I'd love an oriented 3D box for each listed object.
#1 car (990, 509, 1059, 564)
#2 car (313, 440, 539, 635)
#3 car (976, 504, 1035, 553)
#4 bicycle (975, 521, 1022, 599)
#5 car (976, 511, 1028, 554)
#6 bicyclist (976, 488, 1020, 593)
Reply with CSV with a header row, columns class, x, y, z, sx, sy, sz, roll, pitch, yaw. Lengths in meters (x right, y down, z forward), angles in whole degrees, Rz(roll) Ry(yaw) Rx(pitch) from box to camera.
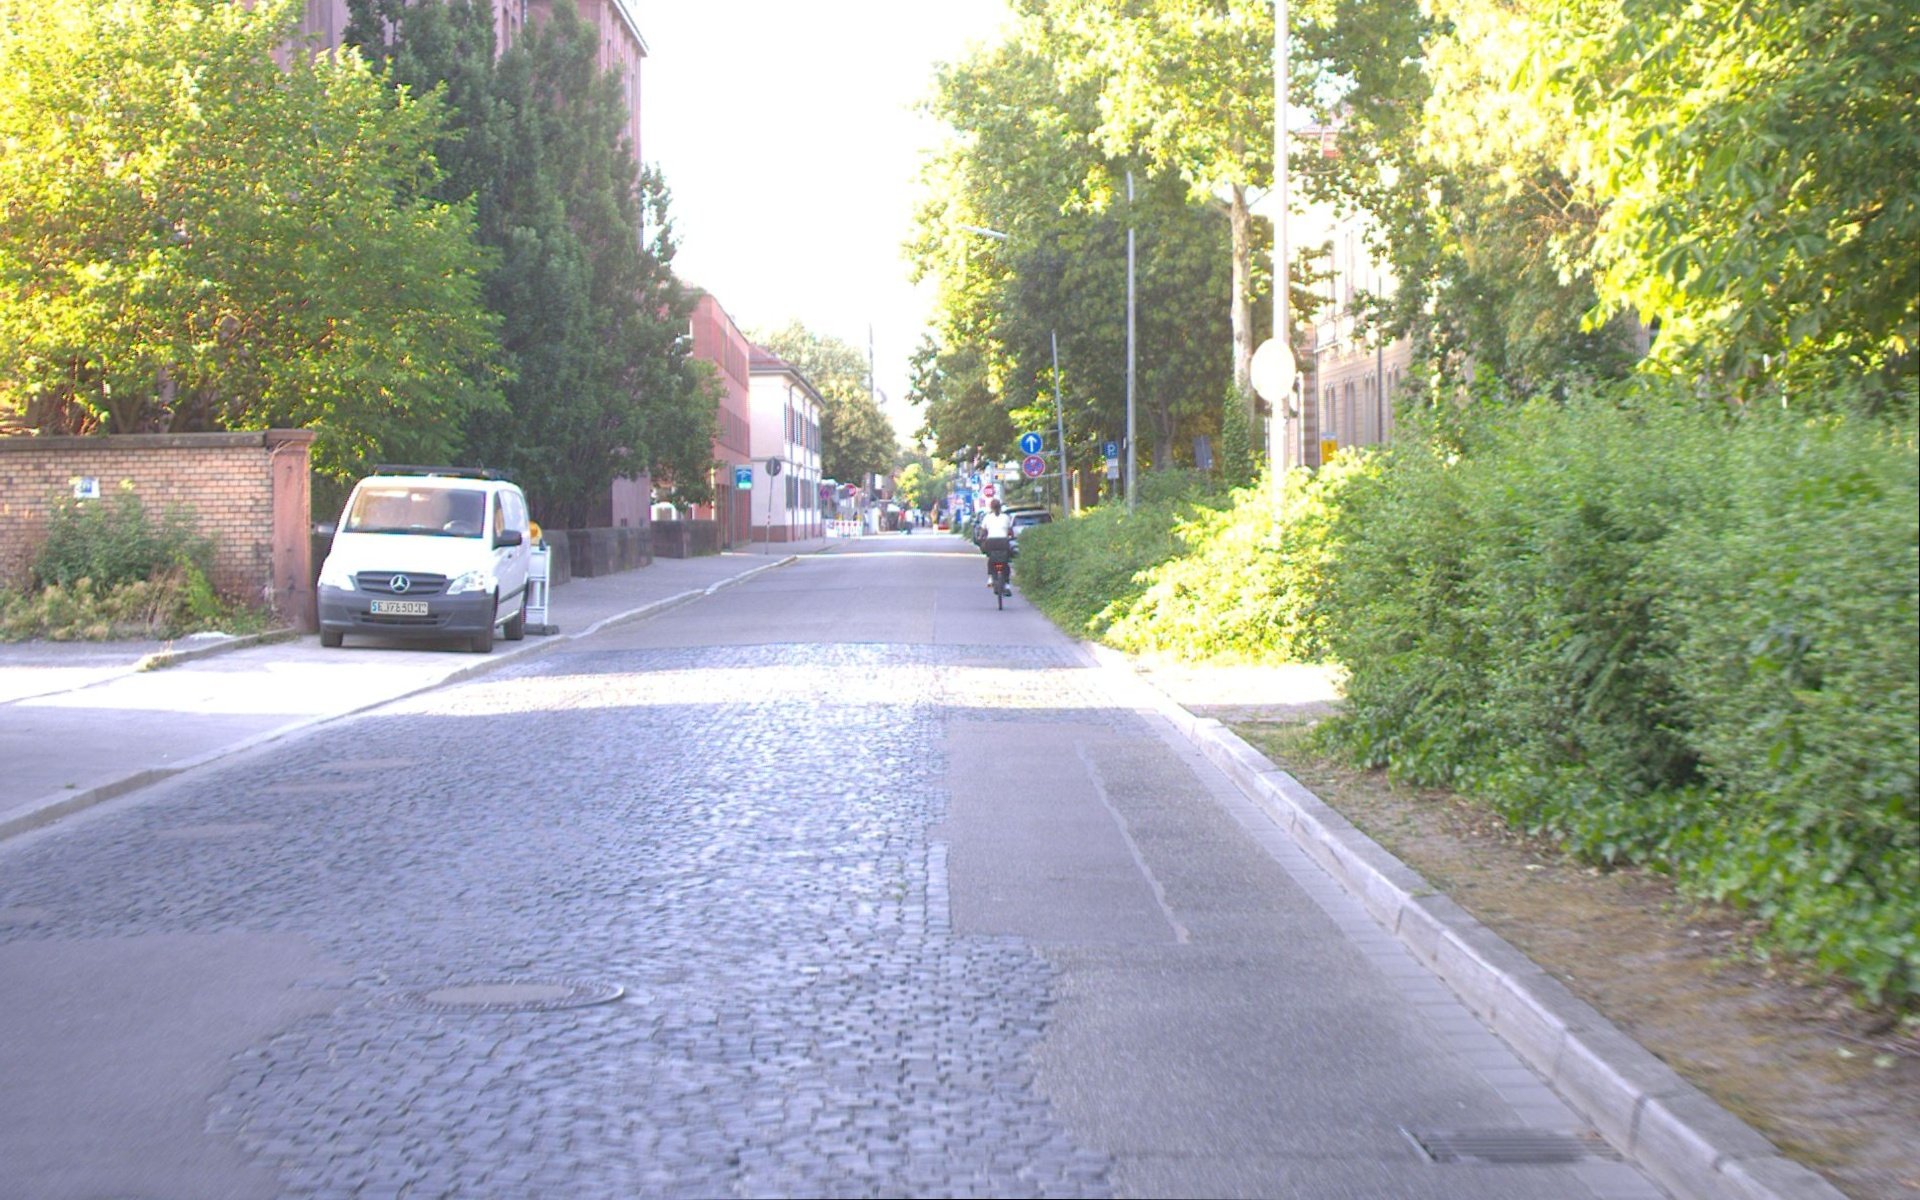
class,x,y,z,sx,sy,sz,roll,pitch,yaw
car,1.831,-1.819,97.915,1.685,1.442,3.672,-3,1,-2
car,-5.931,-0.702,38.733,1.882,2.007,5.227,1,1,-2
car,1.457,-2.344,111.972,1.715,1.532,4.049,0,2,-2
bicycle,0.609,-0.651,55.235,0.638,1.189,1.876,1,2,-2
car,1.518,-2.493,126.193,1.715,1.532,4.049,0,2,-2
bicyclist,0.610,-0.958,55.234,0.639,1.661,0.843,1,2,-2
